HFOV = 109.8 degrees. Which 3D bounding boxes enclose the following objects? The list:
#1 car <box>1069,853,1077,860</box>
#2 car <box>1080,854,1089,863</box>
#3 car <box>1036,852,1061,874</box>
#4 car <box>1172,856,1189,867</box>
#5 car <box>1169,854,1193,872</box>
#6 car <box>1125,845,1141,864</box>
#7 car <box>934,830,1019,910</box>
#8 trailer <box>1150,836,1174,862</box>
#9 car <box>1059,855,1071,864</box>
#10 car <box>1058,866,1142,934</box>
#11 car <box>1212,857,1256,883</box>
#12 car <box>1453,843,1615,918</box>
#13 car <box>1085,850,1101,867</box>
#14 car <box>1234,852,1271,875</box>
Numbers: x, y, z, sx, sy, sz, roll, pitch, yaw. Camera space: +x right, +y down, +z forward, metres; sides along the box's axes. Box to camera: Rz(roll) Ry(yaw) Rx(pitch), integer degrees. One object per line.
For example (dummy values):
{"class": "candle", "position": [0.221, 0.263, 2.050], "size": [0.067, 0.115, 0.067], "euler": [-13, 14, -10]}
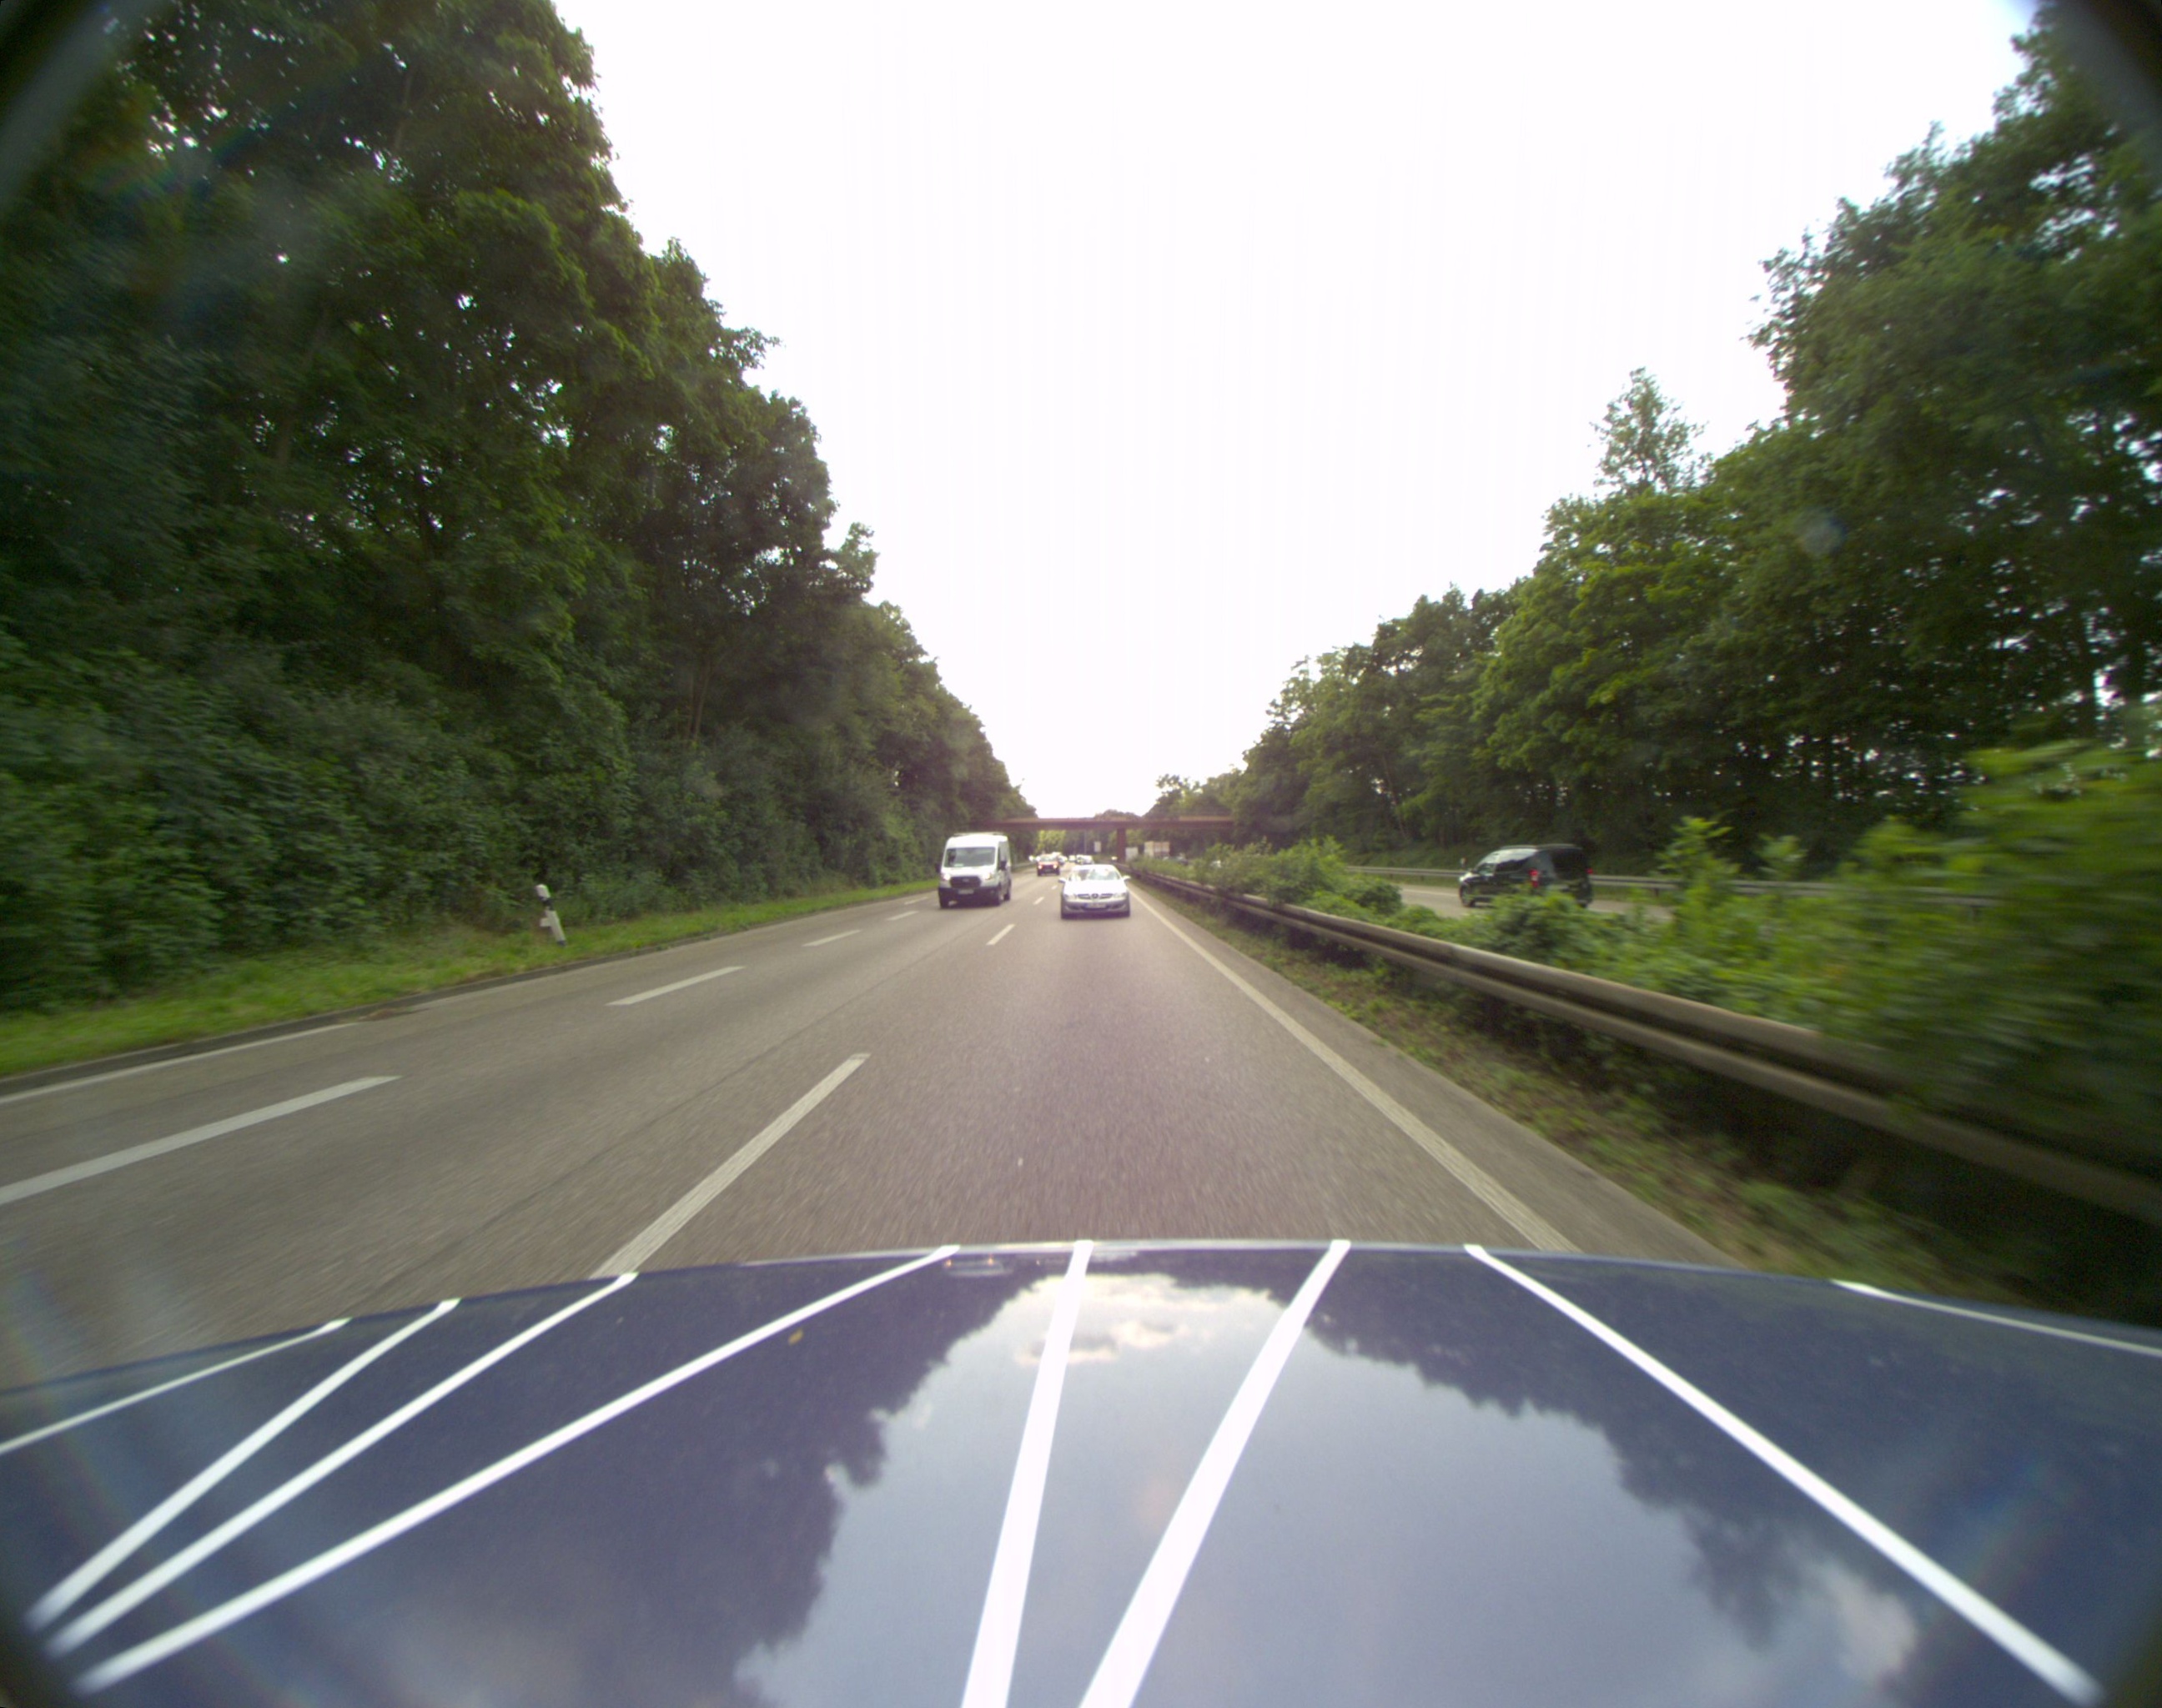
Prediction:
{"class": "car", "position": [-2.101, 0.621, 205.440], "size": [1.724, 2.002, 4.001], "euler": [-1, 0, 4]}
{"class": "car", "position": [0.627, 0.712, 129.651], "size": [1.472, 1.560, 3.295], "euler": [0, 0, 1]}
{"class": "car", "position": [-2.805, 0.737, 66.857], "size": [1.908, 1.795, 4.395], "euler": [-2, 0, 1]}
{"class": "car", "position": [12.895, 0.942, 98.742], "size": [1.739, 1.464, 4.470], "euler": [0, 0, 1]}
{"class": "car", "position": [9.201, 0.831, 70.265], "size": [1.721, 1.621, 4.000], "euler": [-1, 0, 1]}
{"class": "car", "position": [8.725, 0.075, 127.629], "size": [2.294, 3.214, 7.286], "euler": [0, 0, 1]}
{"class": "car", "position": [-3.560, 0.497, 26.928], "size": [2.104, 2.493, 5.279], "euler": [-2, 0, 1]}
{"class": "trailer", "position": [13.362, -0.769, 125.961], "size": [3.067, 4.018, 9.974], "euler": [-1, 0, 2]}
{"class": "car", "position": [-2.757, 0.880, 129.715], "size": [1.889, 1.516, 4.000], "euler": [-1, 0, 1]}
{"class": "car", "position": [0.412, 1.023, 18.902], "size": [1.751, 1.295, 5.223], "euler": [-2, 0, 0]}
{"class": "car", "position": [9.533, 0.955, 47.644], "size": [1.788, 1.423, 4.717], "euler": [-2, 0, 1]}
{"class": "car", "position": [12.391, 0.656, 21.153], "size": [1.998, 1.858, 4.277], "euler": [-1, 0, 1]}
{"class": "car", "position": [1.482, 0.553, 94.557], "size": [1.998, 2.002, 4.000], "euler": [0, 0, 1]}
{"class": "car", "position": [13.387, 0.735, 59.584], "size": [1.832, 1.651, 4.595], "euler": [-2, 0, 1]}
